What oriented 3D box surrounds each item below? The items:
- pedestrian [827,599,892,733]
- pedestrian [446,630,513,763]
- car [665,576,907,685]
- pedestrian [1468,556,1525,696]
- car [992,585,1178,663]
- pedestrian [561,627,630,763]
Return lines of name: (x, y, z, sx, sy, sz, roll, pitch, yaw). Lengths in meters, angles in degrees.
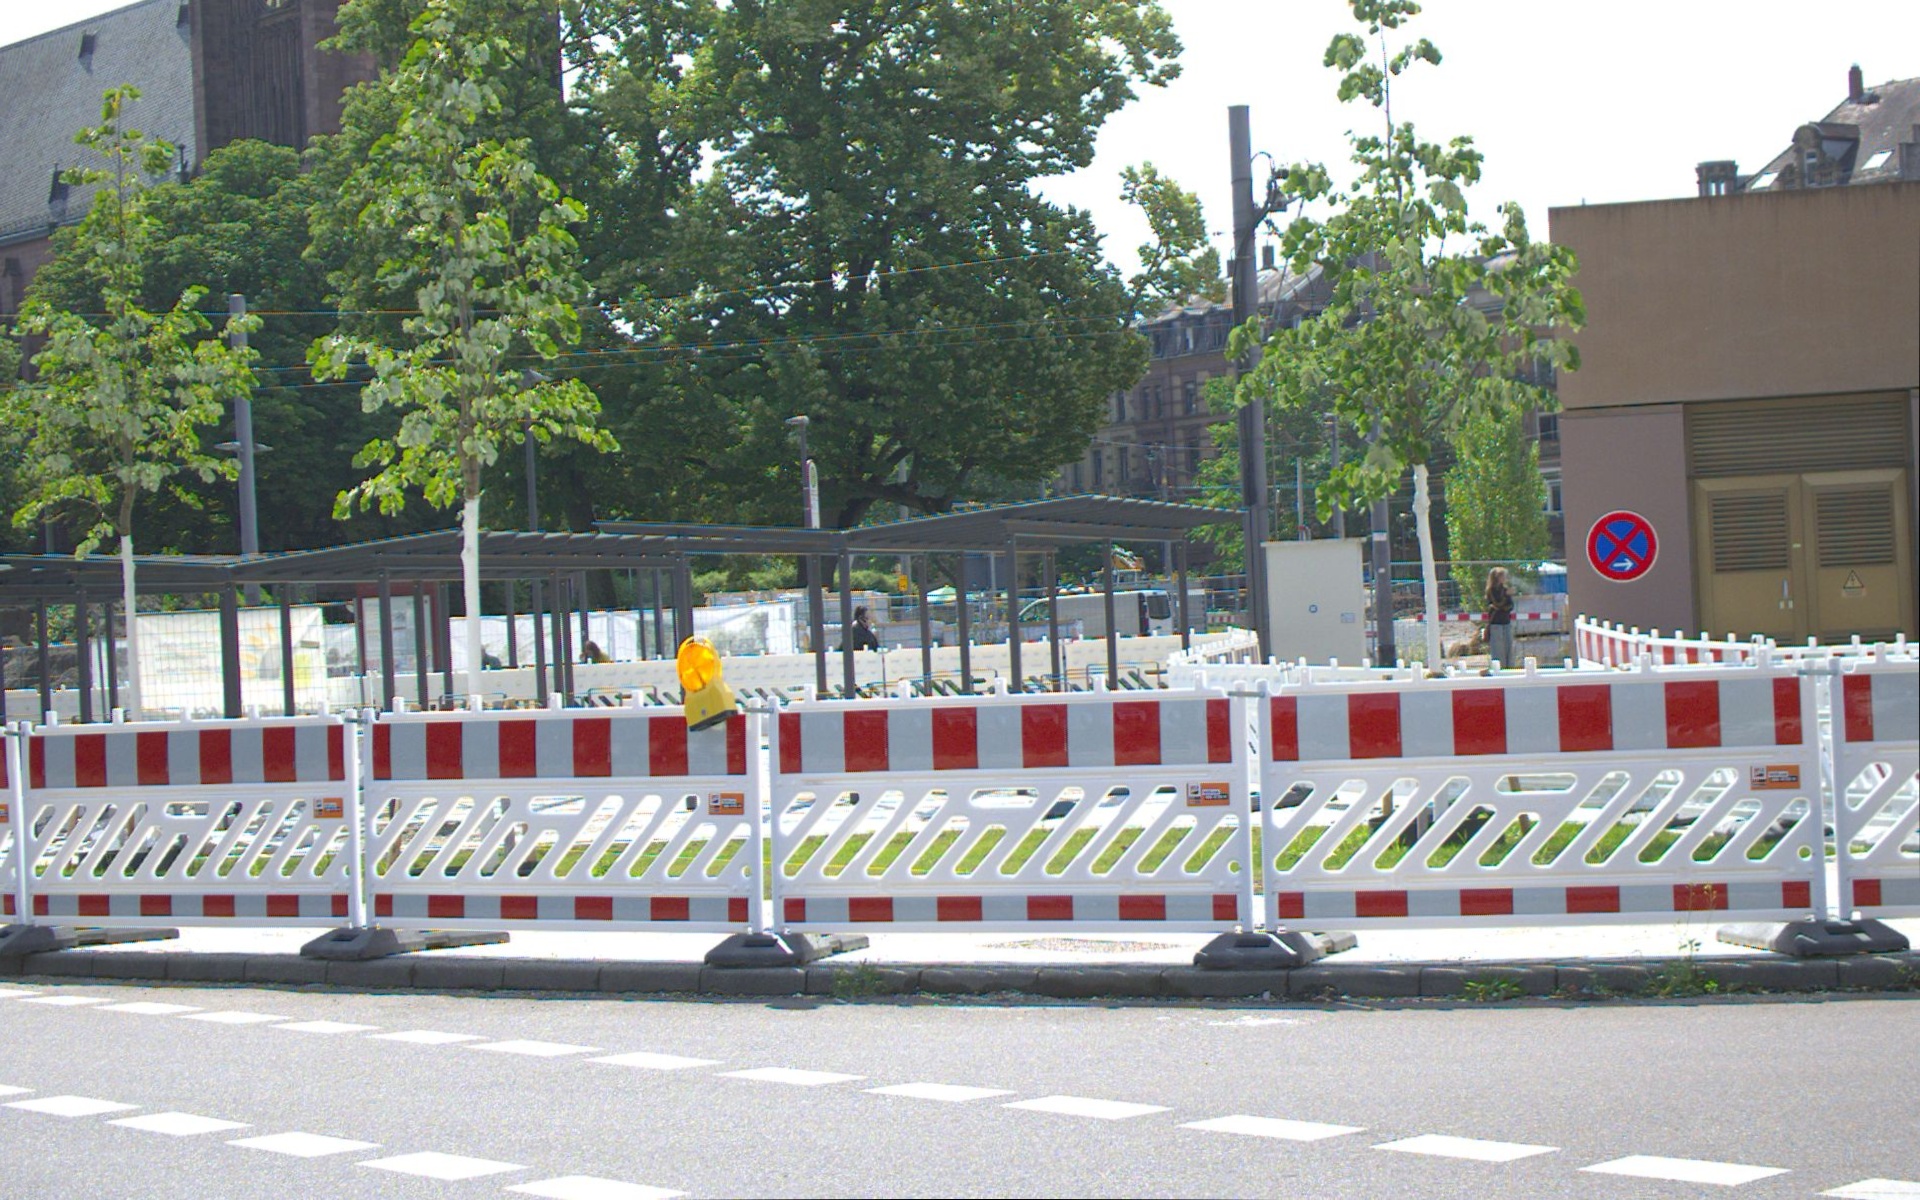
pedestrian: (-1.540, 1.005, 52.839, 0.761, 2.007, 0.750, -2, 0, 12)
pedestrian: (-7.424, 1.484, 53.179, 0.748, 2.007, 0.763, -2, 0, 10)
car: (-3.272, 0.570, 65.013, 4.169, 1.875, 1.802, -3, 0, 13)
pedestrian: (7.840, 0.375, 50.242, 0.701, 2.007, 0.555, -3, 0, 14)
car: (3.202, 0.615, 88.268, 4.362, 1.787, 1.781, -3, 0, 22)
pedestrian: (-5.533, 1.440, 52.230, 0.761, 2.007, 0.750, -2, 0, 12)
